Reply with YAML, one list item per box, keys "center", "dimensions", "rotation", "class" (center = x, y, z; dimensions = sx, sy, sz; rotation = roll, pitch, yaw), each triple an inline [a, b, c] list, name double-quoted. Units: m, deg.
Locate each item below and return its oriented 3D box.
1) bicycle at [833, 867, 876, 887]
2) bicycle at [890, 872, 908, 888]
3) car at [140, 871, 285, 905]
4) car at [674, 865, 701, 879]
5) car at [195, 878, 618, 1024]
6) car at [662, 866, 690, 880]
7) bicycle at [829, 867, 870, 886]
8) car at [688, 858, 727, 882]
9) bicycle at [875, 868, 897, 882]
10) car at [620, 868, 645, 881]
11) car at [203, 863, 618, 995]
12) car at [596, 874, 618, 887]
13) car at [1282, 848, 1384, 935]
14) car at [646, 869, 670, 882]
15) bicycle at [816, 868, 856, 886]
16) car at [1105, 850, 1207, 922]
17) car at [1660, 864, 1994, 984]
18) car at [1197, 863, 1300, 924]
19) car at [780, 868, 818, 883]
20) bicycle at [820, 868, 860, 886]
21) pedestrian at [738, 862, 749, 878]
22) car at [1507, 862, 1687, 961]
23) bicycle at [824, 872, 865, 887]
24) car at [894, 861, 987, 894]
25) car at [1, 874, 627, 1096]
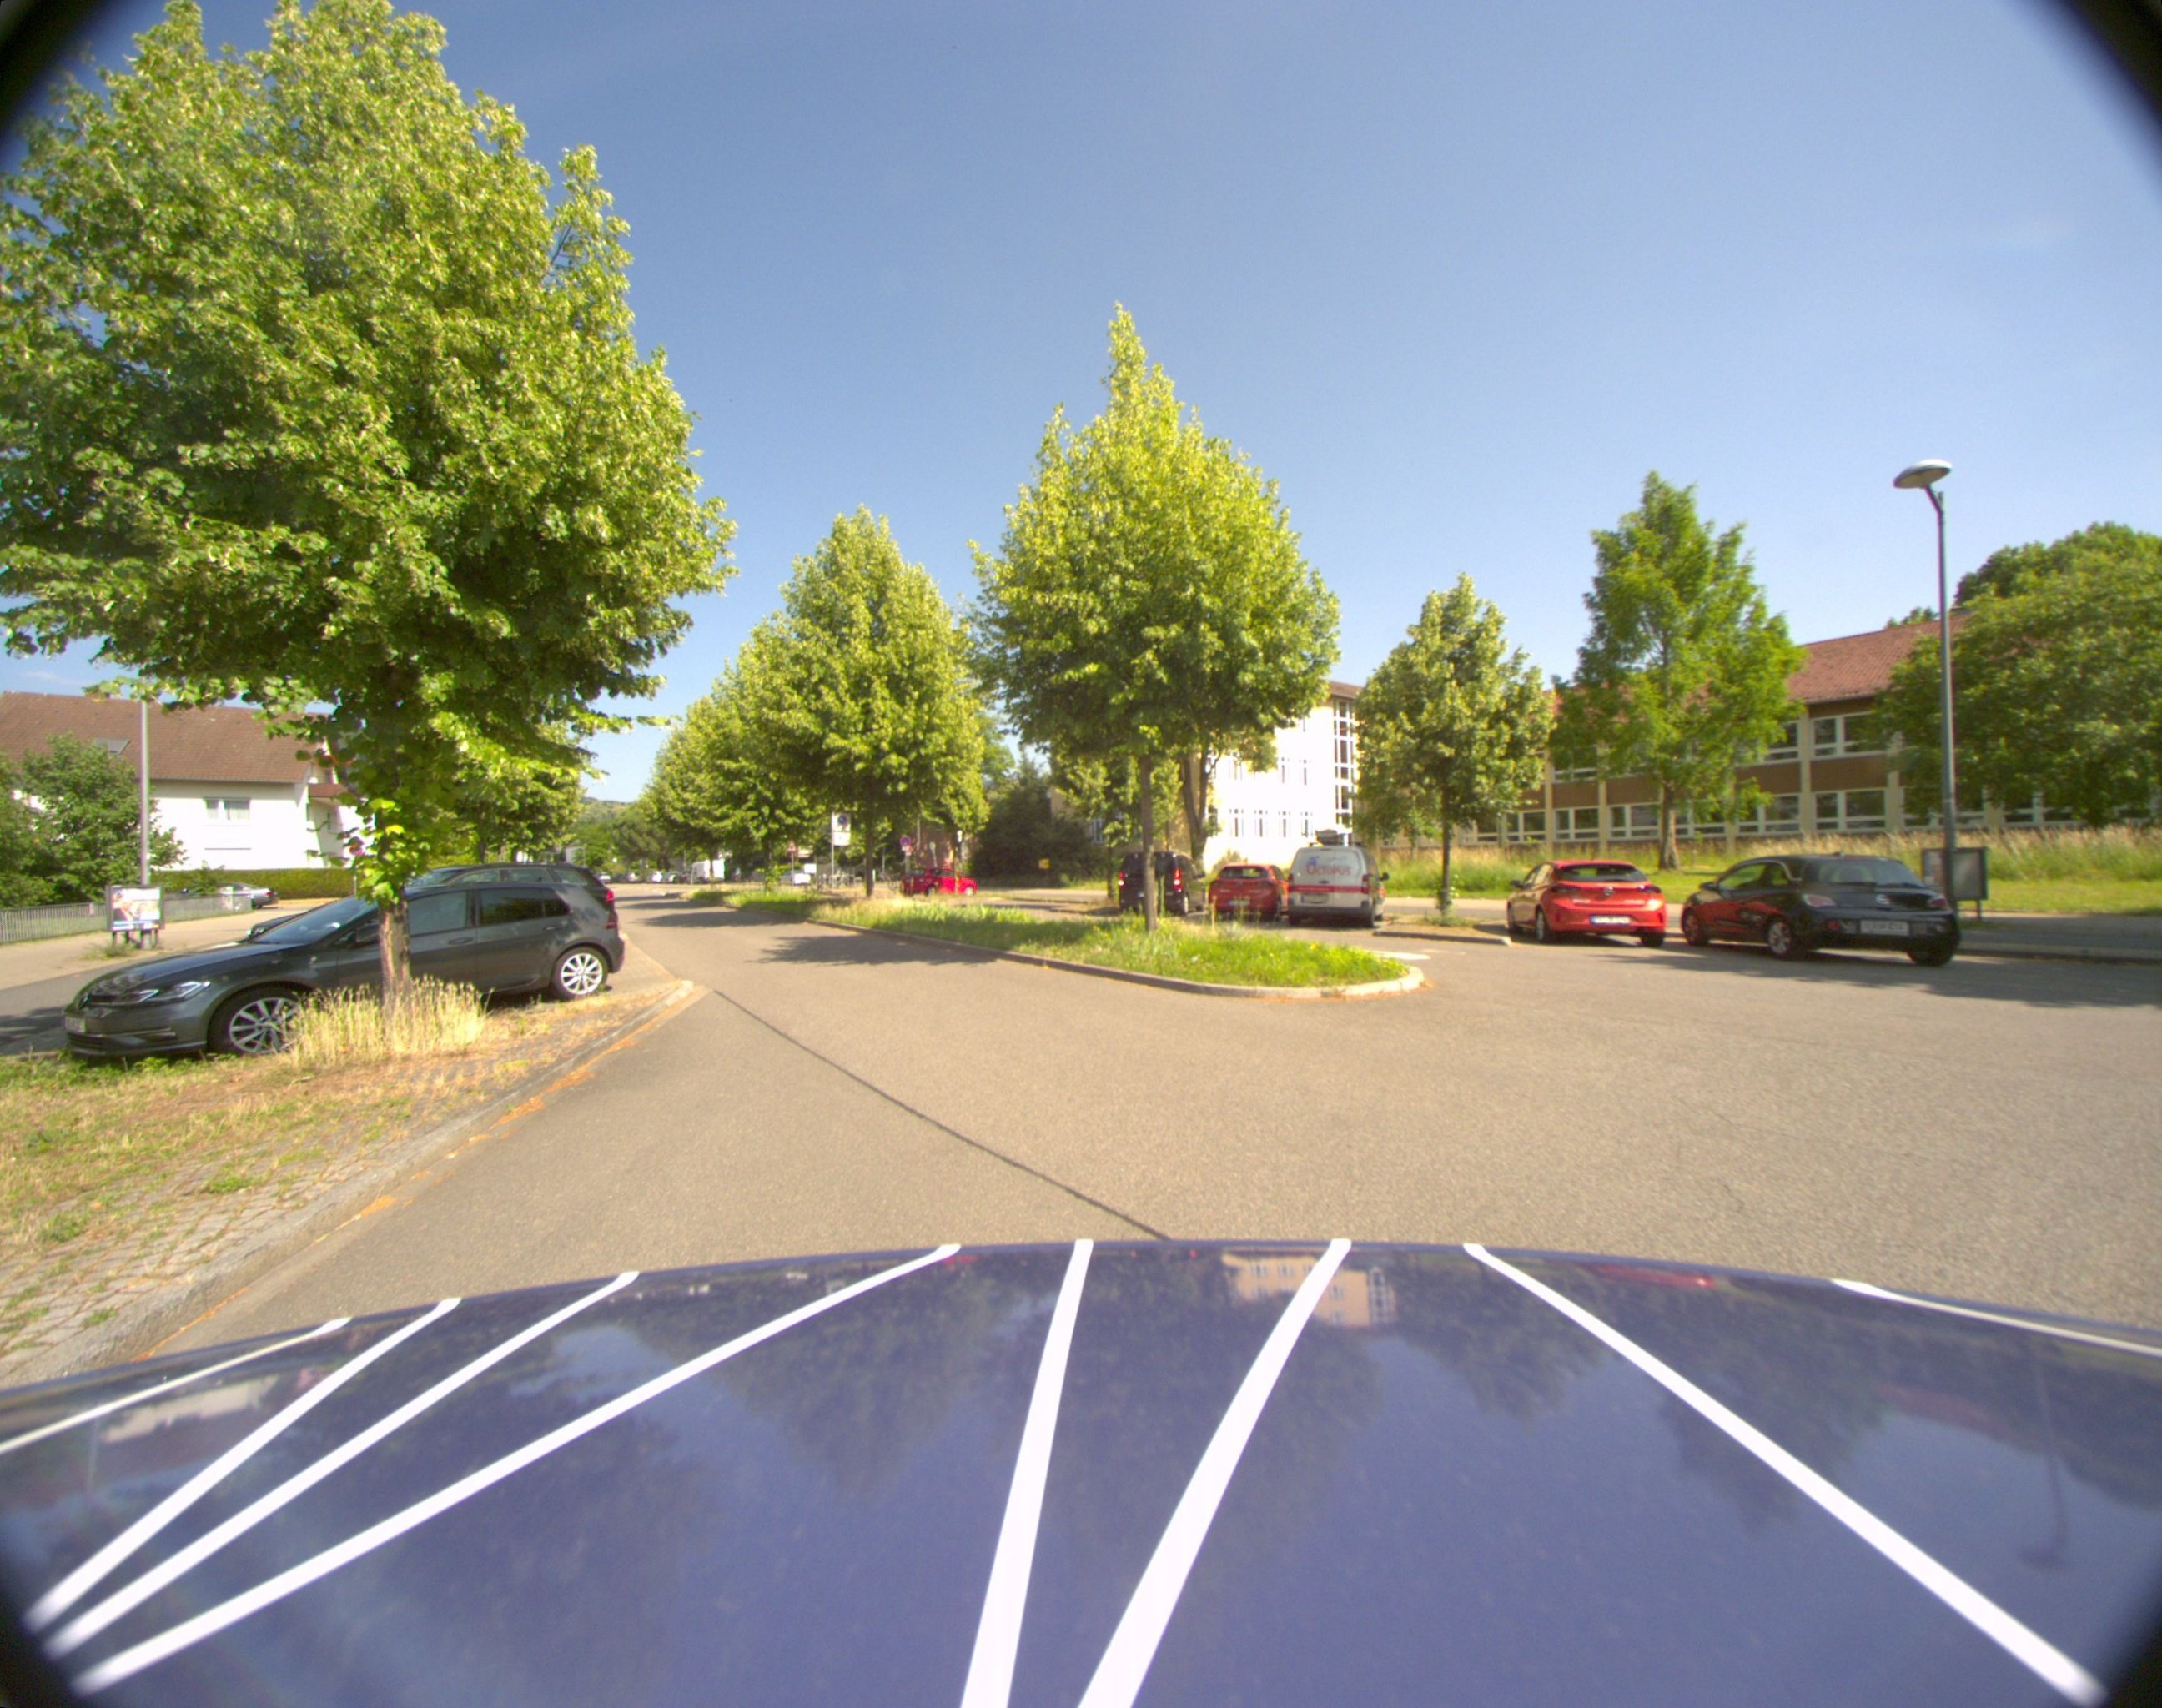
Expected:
- center: [-14.718, 1.492, 49.451]
  dimensions: [2.558, 1.249, 0.737]
  rotation: [-1, 0, -37]
  class: "bicycle"
- center: [-10.547, 1.509, 43.978]
  dimensions: [0.523, 0.898, 1.267]
  rotation: [0, 0, -40]
  class: "bicycle"
- center: [-40.589, 1.585, 35.668]
  dimensions: [4.137, 1.389, 1.807]
  rotation: [0, -3, -35]
  class: "car"
- center: [-44.479, 2.073, 85.844]
  dimensions: [1.729, 1.549, 3.989]
  rotation: [0, -2, -43]
  class: "car"
- center: [-9.019, 1.155, 10.603]
  dimensions: [1.765, 1.465, 4.007]
  rotation: [-1, 0, 26]
  class: "car"
- center: [-47.740, 2.287, 89.489]
  dimensions: [1.729, 1.549, 4.660]
  rotation: [0, -2, -43]
  class: "car"
- center: [-15.285, 1.490, 50.248]
  dimensions: [2.528, 1.248, 0.738]
  rotation: [0, -2, -37]
  class: "bicycle"
- center: [-40.275, 1.720, 81.796]
  dimensions: [2.100, 2.481, 5.936]
  rotation: [0, -2, -43]
  class: "car"
- center: [-16.345, 1.750, 63.602]
  dimensions: [1.714, 1.074, 0.378]
  rotation: [-2, 0, 6]
  class: "bicycle"
- center: [-60.065, 2.774, 101.765]
  dimensions: [1.851, 1.753, 4.573]
  rotation: [1, -2, -44]
  class: "car"
- center: [-10.468, 1.023, 12.417]
  dimensions: [1.748, 1.650, 4.754]
  rotation: [-1, 0, 25]
  class: "car"
- center: [-60.921, 3.421, 97.618]
  dimensions: [1.751, 1.538, 4.061]
  rotation: [1, -1, -42]
  class: "car"
- center: [5.876, 0.769, 17.437]
  dimensions: [1.815, 1.761, 3.781]
  rotation: [-1, 0, 24]
  class: "car"
- center: [-52.212, 2.637, 93.792]
  dimensions: [1.729, 1.549, 3.989]
  rotation: [0, -2, -43]
  class: "car"
- center: [-17.149, 1.598, 53.199]
  dimensions: [2.558, 1.248, 0.738]
  rotation: [0, -2, -37]
  class: "bicycle"
- center: [2.239, 0.858, 21.475]
  dimensions: [2.000, 1.805, 4.195]
  rotation: [-2, -1, 18]
  class: "car"
- center: [10.445, 0.861, 11.099]
  dimensions: [1.852, 1.415, 3.779]
  rotation: [0, -1, 15]
  class: "car"
- center: [4.449, 0.964, 19.755]
  dimensions: [1.851, 1.419, 3.781]
  rotation: [-2, -1, 24]
  class: "car"
- center: [-24.684, 1.914, 66.531]
  dimensions: [1.729, 1.259, 3.989]
  rotation: [1, -2, -43]
  class: "car"
- center: [-16.595, 1.582, 52.378]
  dimensions: [2.558, 1.231, 0.738]
  rotation: [0, -2, -37]
  class: "bicycle"
- center: [-37.207, 1.773, 83.767]
  dimensions: [0.978, 1.769, 0.723]
  rotation: [-1, 0, -39]
  class: "pedestrian"
- center: [8.881, 0.897, 13.450]
  dimensions: [1.712, 1.415, 3.848]
  rotation: [-1, 0, 20]
  class: "car"
- center: [-15.935, 1.710, 51.294]
  dimensions: [2.558, 0.981, 0.738]
  rotation: [0, -2, -37]
  class: "bicycle"
- center: [-6.516, 1.099, 35.596]
  dimensions: [1.994, 1.457, 4.009]
  rotation: [-2, -2, 34]
  class: "car"
- center: [-7.391, 1.041, 7.900]
  dimensions: [1.995, 1.521, 4.125]
  rotation: [-1, 0, 26]
  class: "car"
